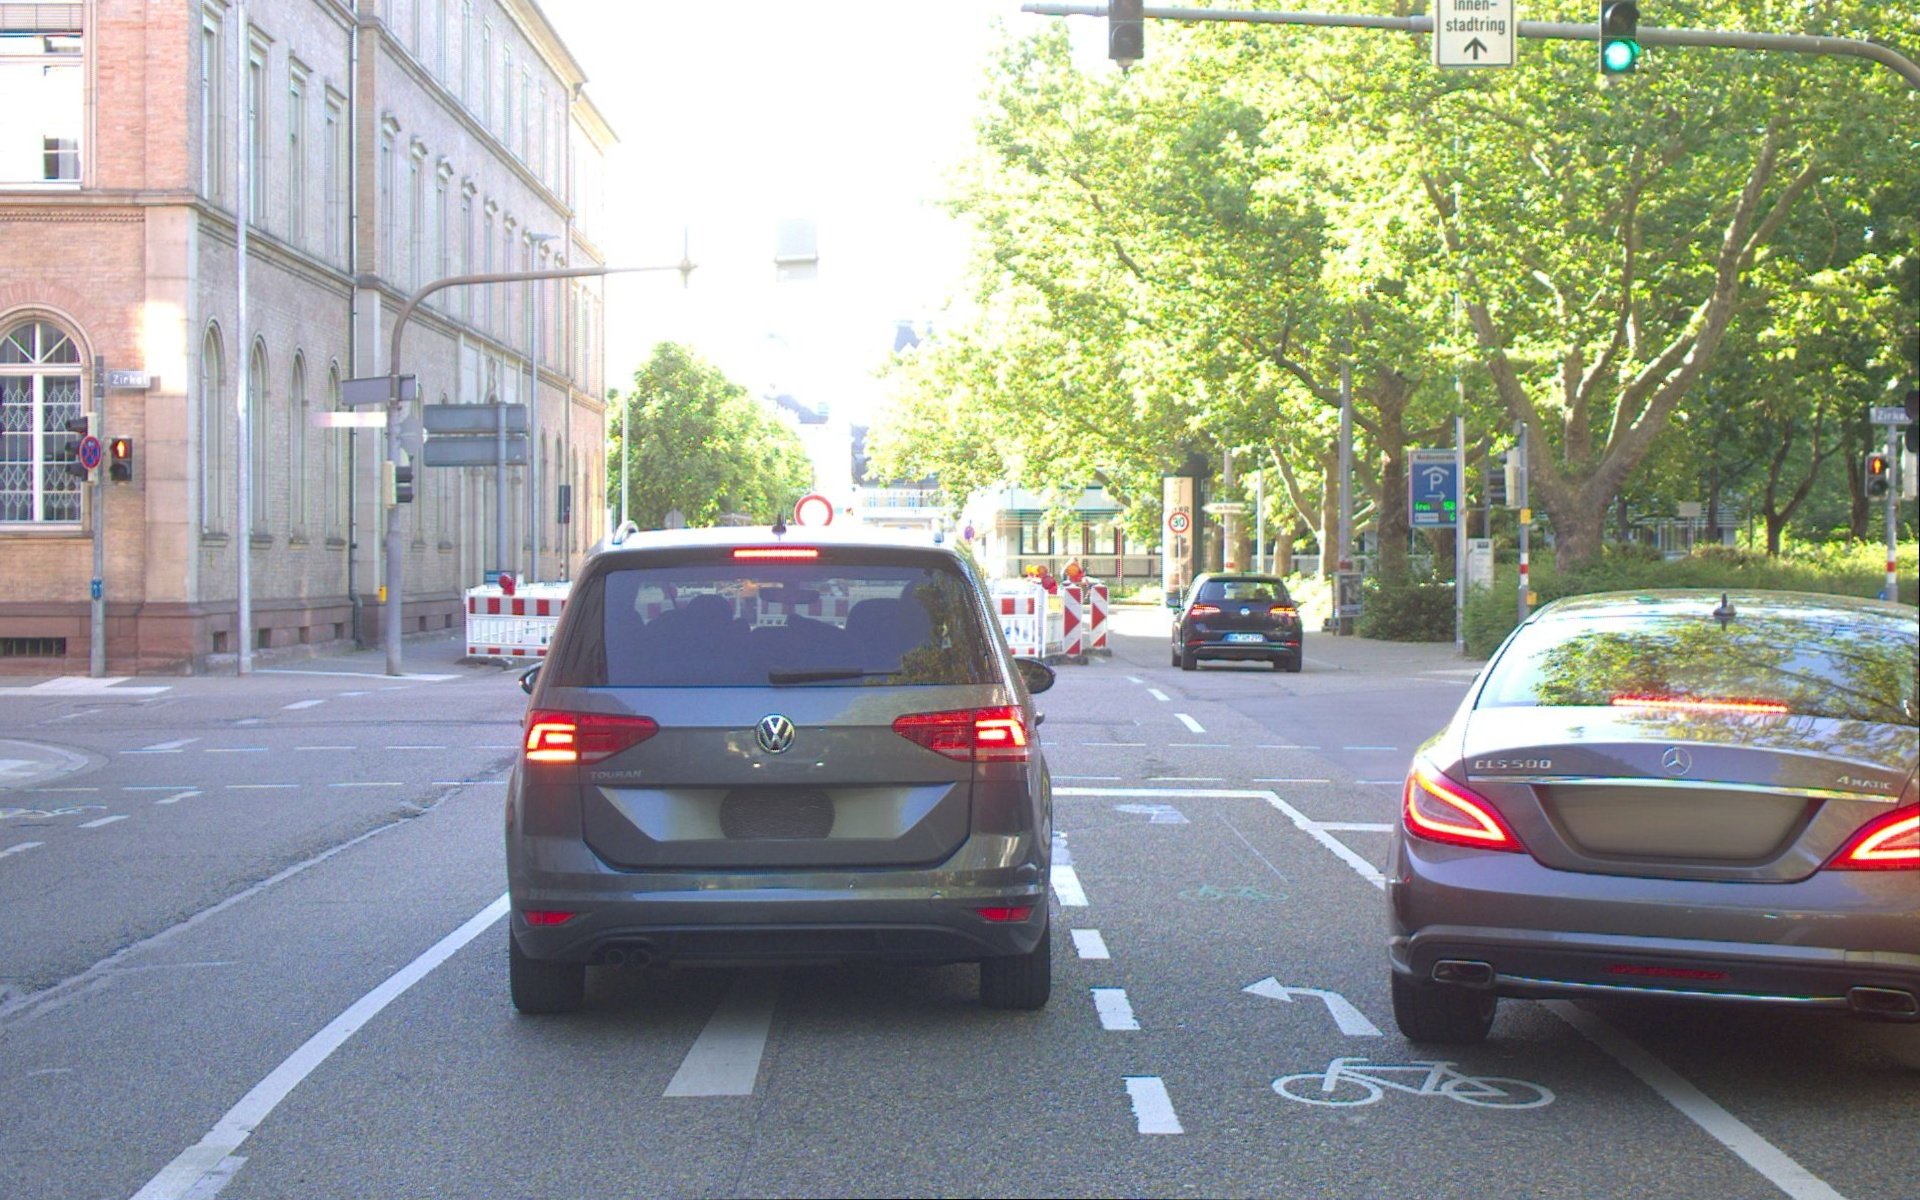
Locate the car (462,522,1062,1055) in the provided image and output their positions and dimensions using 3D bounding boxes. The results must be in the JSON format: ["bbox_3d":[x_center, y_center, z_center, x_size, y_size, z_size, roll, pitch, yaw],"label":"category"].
[{"bbox_3d":[-0.566,0.557,12.415,1.809,1.607,4.000,0,0,1],"label":"car"}]

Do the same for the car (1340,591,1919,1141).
[{"bbox_3d":[2.639,0.697,11.409,1.844,1.424,4.513,1,0,18],"label":"car"}]

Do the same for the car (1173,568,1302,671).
[{"bbox_3d":[4.063,0.262,50.882,1.689,1.435,3.902,1,0,2],"label":"car"}]
